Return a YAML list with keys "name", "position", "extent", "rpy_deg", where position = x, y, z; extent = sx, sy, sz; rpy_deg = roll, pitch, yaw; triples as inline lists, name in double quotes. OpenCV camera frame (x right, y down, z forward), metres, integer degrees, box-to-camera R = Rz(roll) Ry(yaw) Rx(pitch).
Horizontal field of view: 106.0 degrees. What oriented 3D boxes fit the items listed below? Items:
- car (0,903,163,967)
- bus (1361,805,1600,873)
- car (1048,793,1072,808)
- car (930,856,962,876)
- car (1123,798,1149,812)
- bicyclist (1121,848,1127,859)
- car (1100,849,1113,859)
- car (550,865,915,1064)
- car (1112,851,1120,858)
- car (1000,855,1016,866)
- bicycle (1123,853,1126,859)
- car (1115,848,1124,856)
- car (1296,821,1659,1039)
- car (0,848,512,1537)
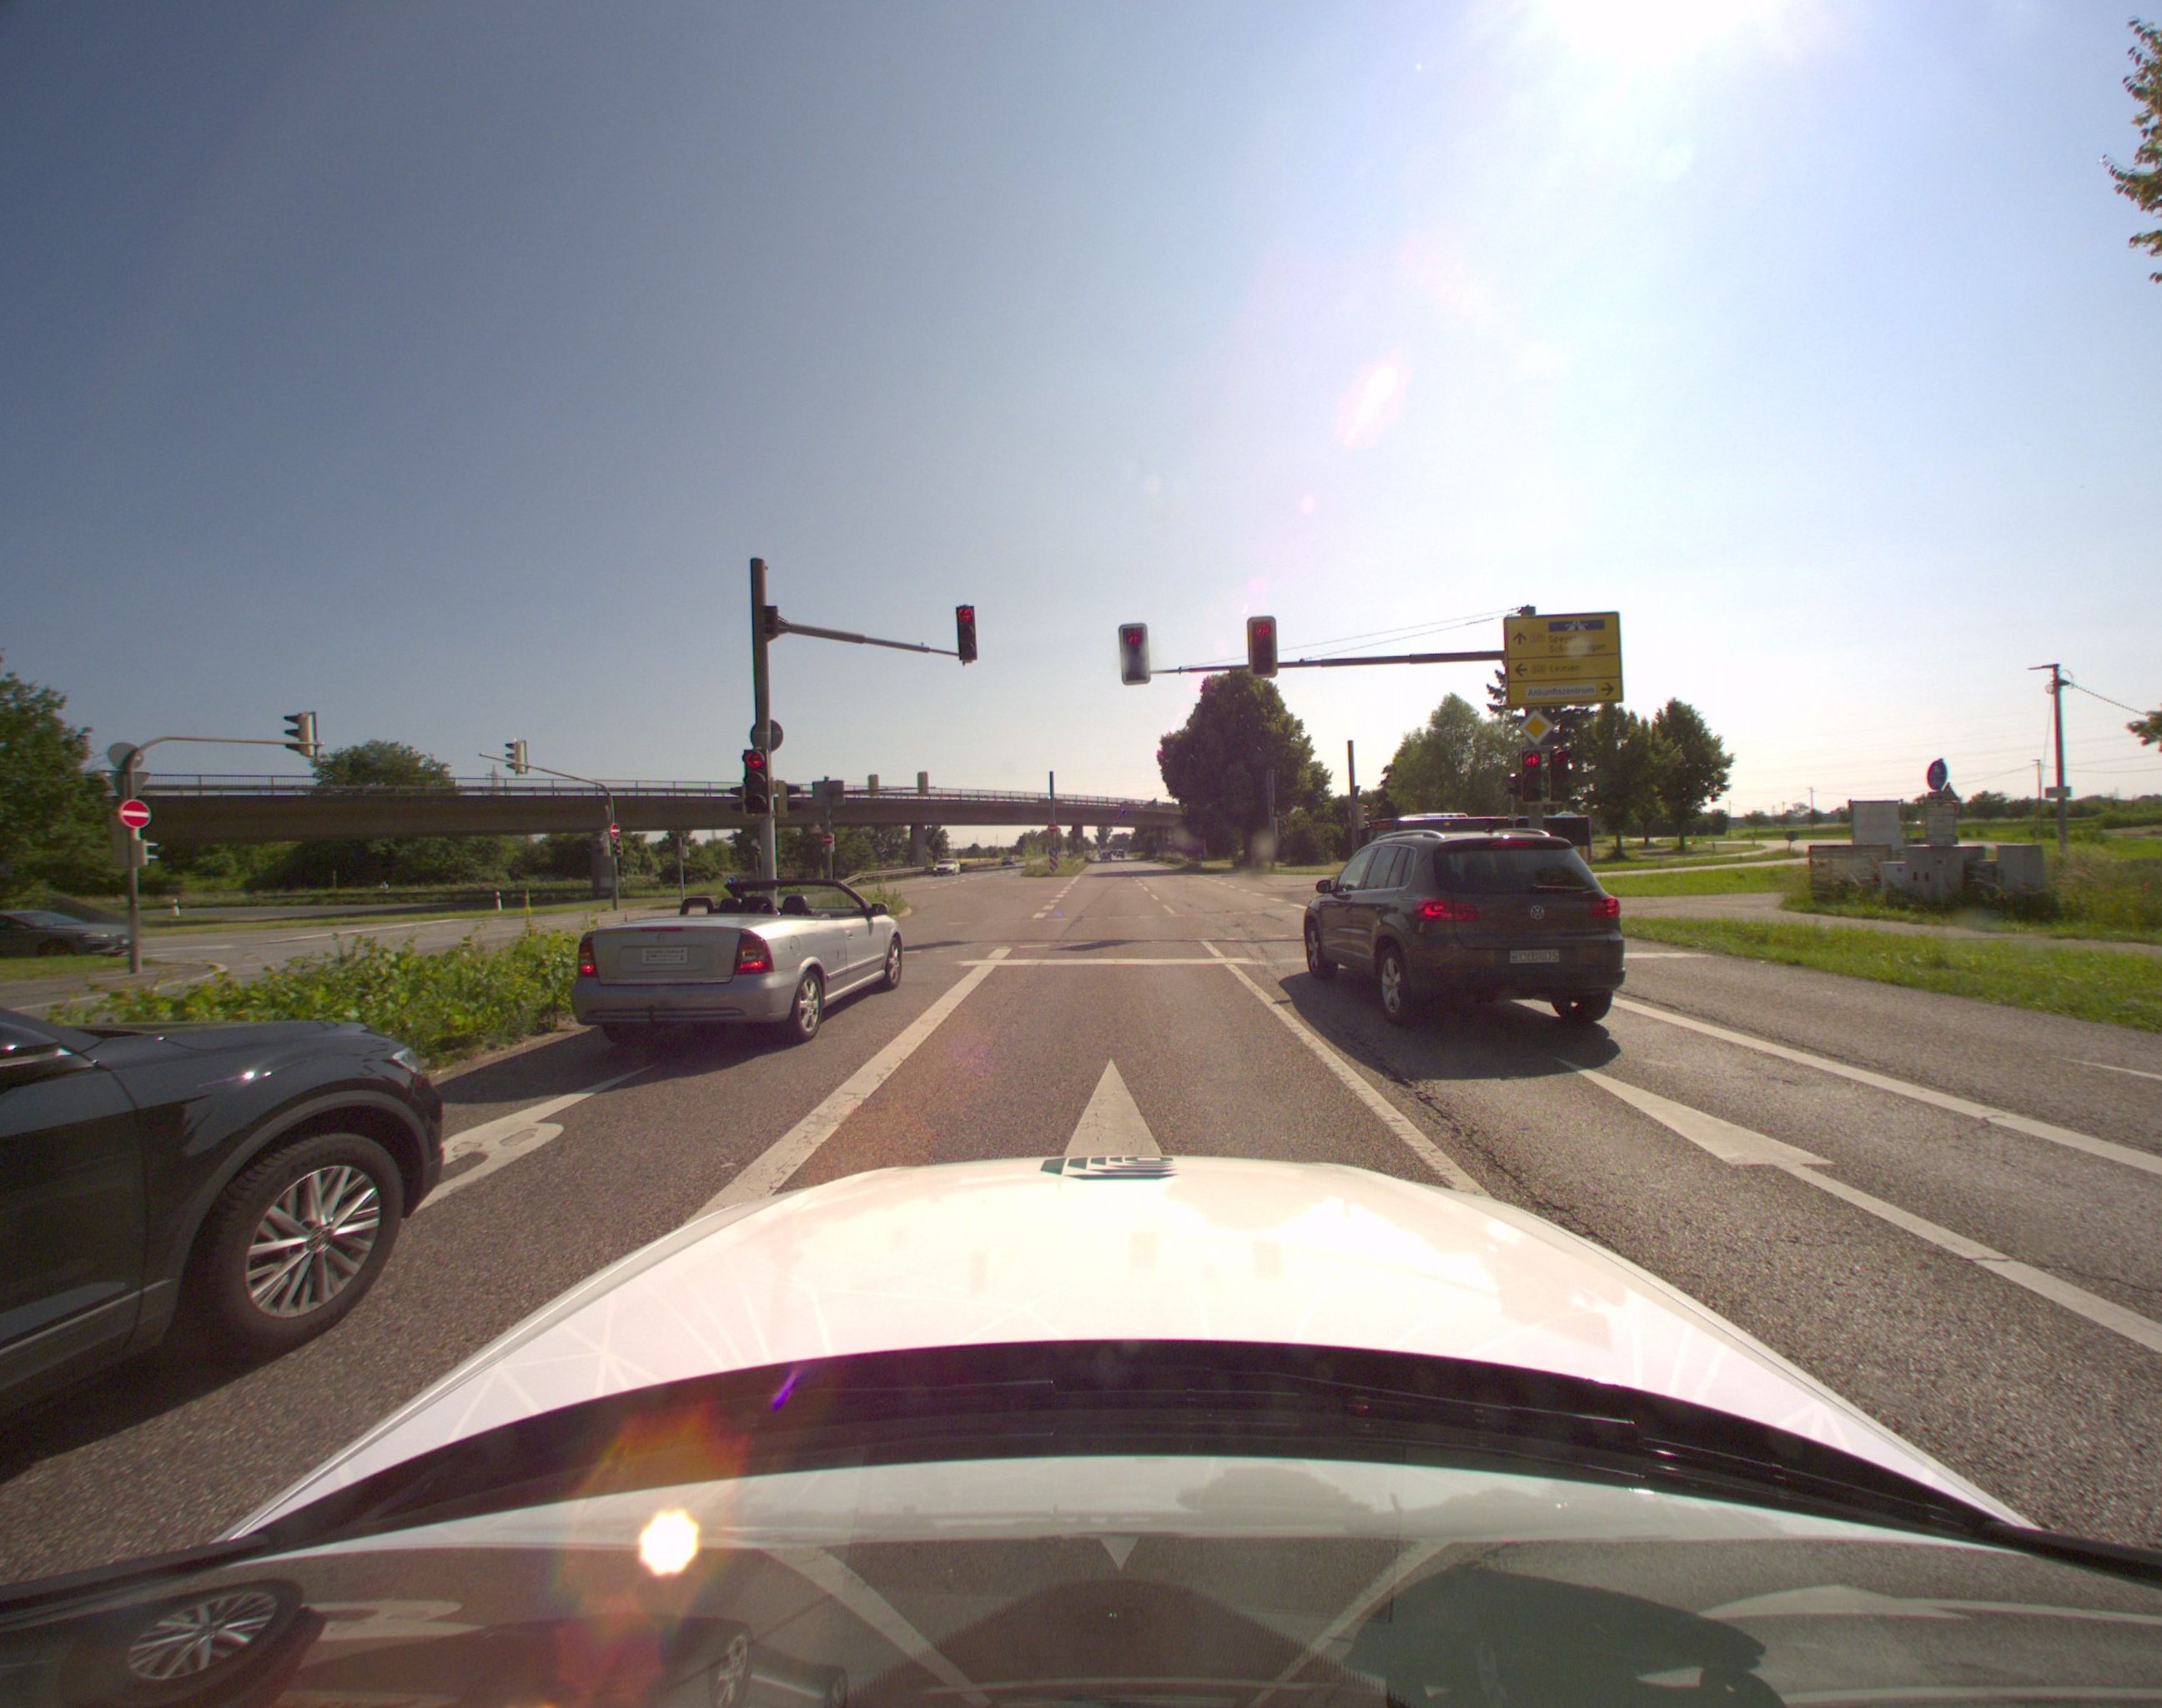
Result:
- name: "car"
  position: [-27.767, 2.168, 21.567]
  extent: [4.125, 1.424, 1.859]
  rpy_deg: [-3, 0, -18]
- name: "bus"
  position: [20.693, -0.794, 42.222]
  extent: [11.953, 2.877, 2.929]
  rpy_deg: [-3, 0, -14]
- name: "car"
  position: [-2.346, -6.077, 93.327]
  extent: [1.307, 1.486, 3.217]
  rpy_deg: [-2, 0, 27]
- name: "car"
  position: [-11.649, 1.047, 70.646]
  extent: [1.876, 1.515, 4.149]
  rpy_deg: [-5, 0, 1]
- name: "car"
  position: [7.504, -6.658, 110.870]
  extent: [1.974, 1.486, 4.025]
  rpy_deg: [0, -1, 32]
- name: "bicyclist"
  position: [7.935, -0.086, 149.665]
  extent: [1.003, 1.886, 1.327]
  rpy_deg: [-3, 0, 2]
- name: "car"
  position: [4.033, 0.000, 127.736]
  extent: [1.843, 1.461, 4.004]
  rpy_deg: [-1, 0, 3]
- name: "car"
  position: [-2.987, 0.847, 8.049]
  extent: [1.667, 1.335, 4.100]
  rpy_deg: [-1, 0, 2]
- name: "car"
  position: [8.917, 0.104, 208.589]
  extent: [1.986, 1.631, 4.001]
  rpy_deg: [0, -1, 2]
- name: "car"
  position: [-10.445, 0.915, 116.850]
  extent: [1.608, 1.442, 3.778]
  rpy_deg: [-4, 0, 2]
- name: "bicycle"
  position: [7.998, 0.363, 149.347]
  extent: [0.598, 0.983, 2.362]
  rpy_deg: [-3, 0, 2]
- name: "car"
  position: [8.301, -0.428, 174.134]
  extent: [1.866, 1.640, 4.003]
  rpy_deg: [0, 0, 3]
- name: "car"
  position: [3.561, 0.574, 8.262]
  extent: [1.749, 1.655, 4.147]
  rpy_deg: [0, 0, 1]
- name: "car"
  position: [-3.331, 0.789, 1.358]
  extent: [1.722, 1.547, 4.100]
  rpy_deg: [-1, 0, 2]
